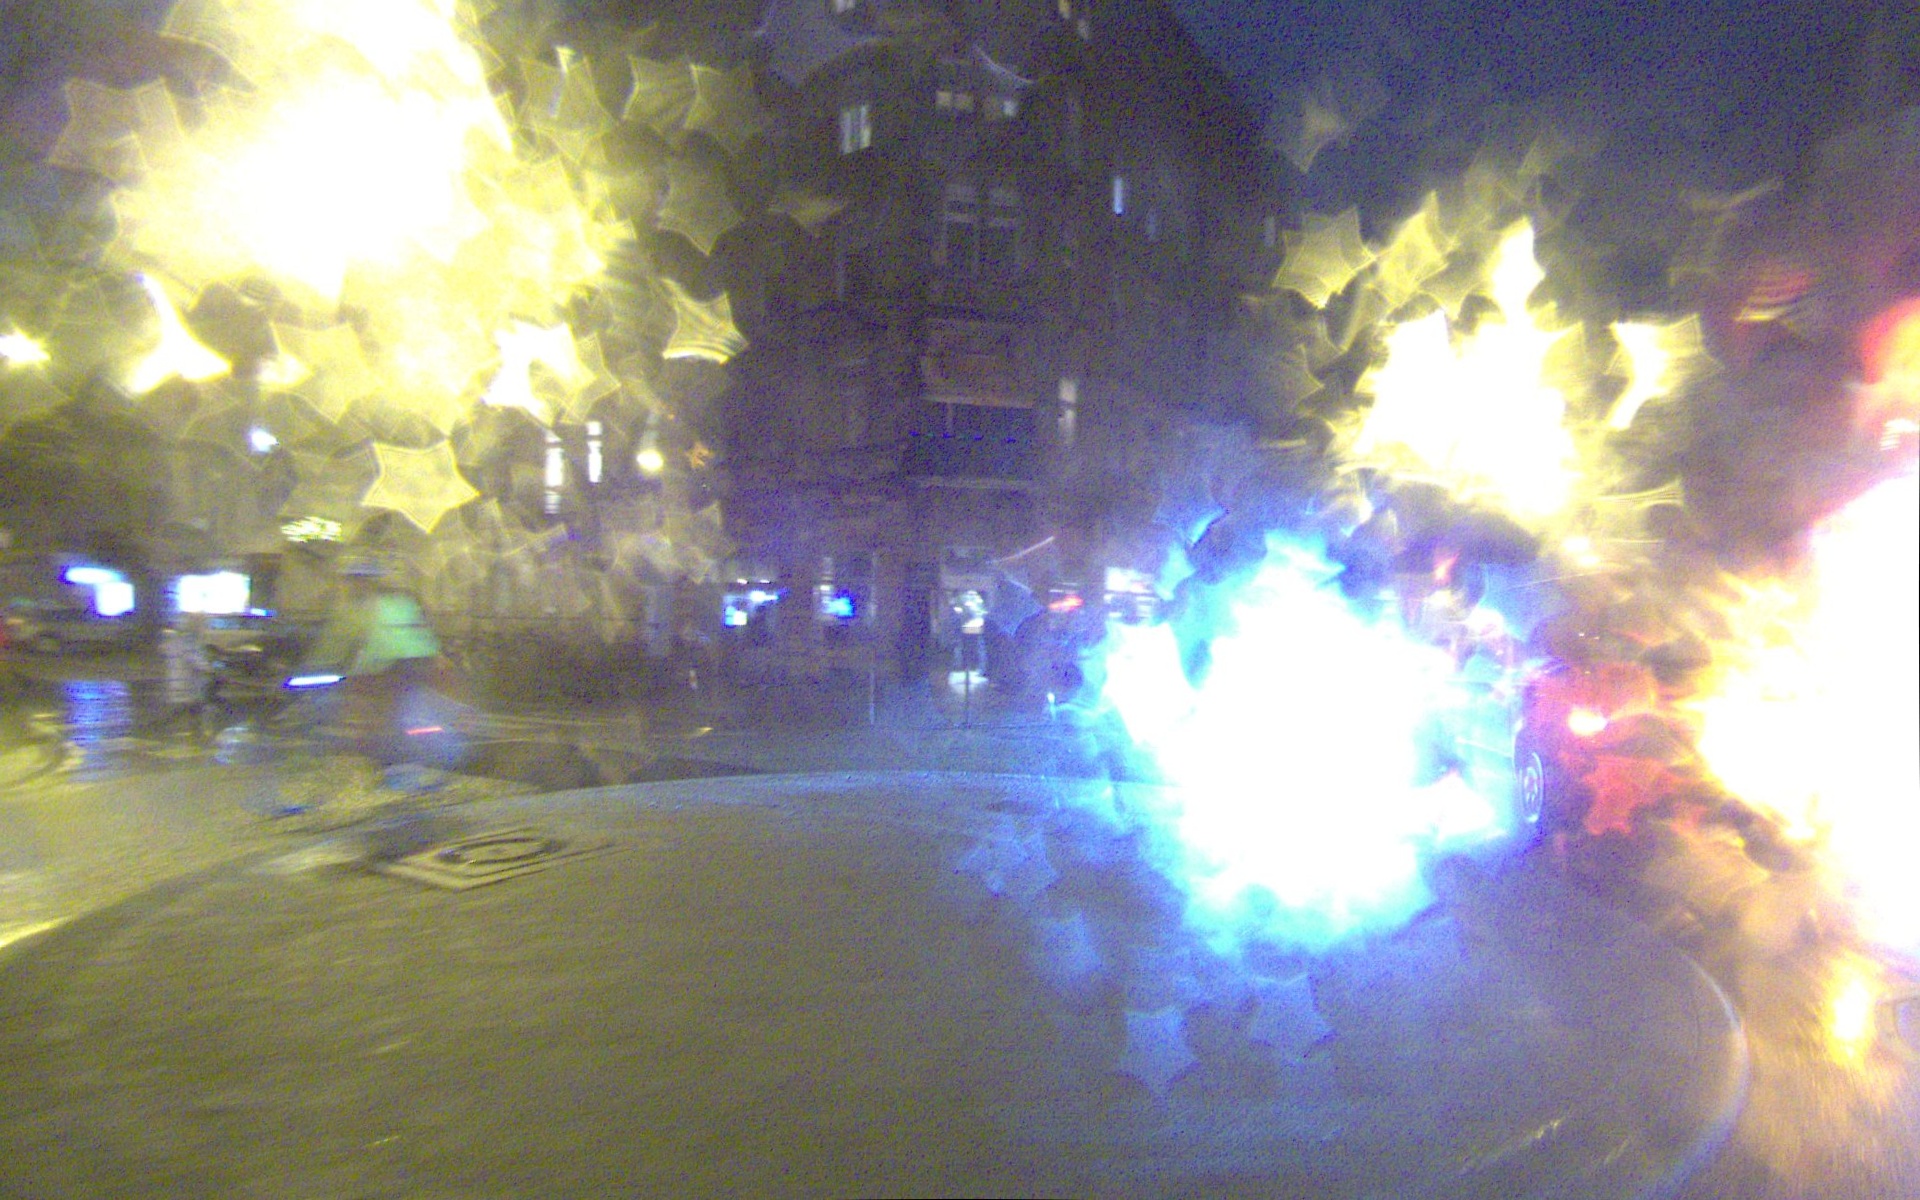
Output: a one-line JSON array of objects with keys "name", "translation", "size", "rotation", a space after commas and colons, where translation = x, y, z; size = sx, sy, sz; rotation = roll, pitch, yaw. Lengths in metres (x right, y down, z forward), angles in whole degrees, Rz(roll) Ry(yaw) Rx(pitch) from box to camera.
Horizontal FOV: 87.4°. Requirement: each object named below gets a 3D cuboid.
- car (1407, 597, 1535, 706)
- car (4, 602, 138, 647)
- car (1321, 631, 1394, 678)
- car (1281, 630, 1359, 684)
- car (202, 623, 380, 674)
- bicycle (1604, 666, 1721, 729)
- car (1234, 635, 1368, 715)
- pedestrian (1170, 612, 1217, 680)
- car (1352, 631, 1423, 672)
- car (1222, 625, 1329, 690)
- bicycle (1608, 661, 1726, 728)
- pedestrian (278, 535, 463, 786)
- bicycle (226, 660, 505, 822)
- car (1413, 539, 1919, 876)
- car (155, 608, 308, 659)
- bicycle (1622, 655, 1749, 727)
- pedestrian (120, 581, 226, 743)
[{"name": "car", "translation": [10.655, 0.995, 20.931], "size": [2.090, 1.948, 4.819], "rotation": [1, -1, 28]}, {"name": "car", "translation": [-34.522, 0.959, 39.080], "size": [1.566, 1.649, 3.660], "rotation": [-1, -2, 36]}, {"name": "car", "translation": [13.457, 1.792, 33.900], "size": [1.565, 1.468, 3.493], "rotation": [1, -1, 34]}, {"name": "car", "translation": [10.982, 1.691, 30.538], "size": [1.565, 1.530, 2.779], "rotation": [1, -1, 34]}, {"name": "car", "translation": [-18.067, 1.290, 27.270], "size": [1.566, 1.292, 3.707], "rotation": [-1, -2, 36]}, {"name": "bicycle", "translation": [13.291, 1.847, 19.065], "size": [1.738, 1.139, 0.434], "rotation": [-4, -3, 33]}, {"name": "car", "translation": [7.056, 1.457, 20.559], "size": [1.542, 1.446, 4.056], "rotation": [-1, -2, 35]}, {"name": "pedestrian", "translation": [6.328, 1.238, 27.165], "size": [0.794, 1.789, 1.011], "rotation": [2, 0, 40]}, {"name": "car", "translation": [16.394, 1.915, 38.416], "size": [1.667, 1.419, 4.304], "rotation": [1, -1, 34]}, {"name": "car", "translation": [8.415, 1.468, 26.585], "size": [1.565, 1.483, 4.012], "rotation": [4, 1, 34]}, {"name": "bicycle", "translation": [12.864, 1.703, 18.341], "size": [1.737, 1.093, 0.434], "rotation": [0, -1, 33]}, {"name": "pedestrian", "translation": [-4.678, 0.454, 7.996], "size": [0.705, 1.835, 1.118], "rotation": [0, -1, 44]}, {"name": "bicycle", "translation": [-4.674, 1.050, 7.997], "size": [0.705, 1.073, 1.790], "rotation": [0, -1, 44]}, {"name": "car", "translation": [5.440, 0.685, 8.502], "size": [2.086, 2.018, 4.603], "rotation": [1, -1, 14]}, {"name": "car", "translation": [-21.940, 1.007, 30.355], "size": [1.566, 1.422, 3.450], "rotation": [-1, -2, 36]}, {"name": "bicycle", "translation": [12.531, 1.551, 17.412], "size": [1.758, 1.140, 0.434], "rotation": [0, -1, 33]}, {"name": "pedestrian", "translation": [-9.665, 0.747, 12.342], "size": [0.940, 1.882, 0.789], "rotation": [1, -3, -43]}]
